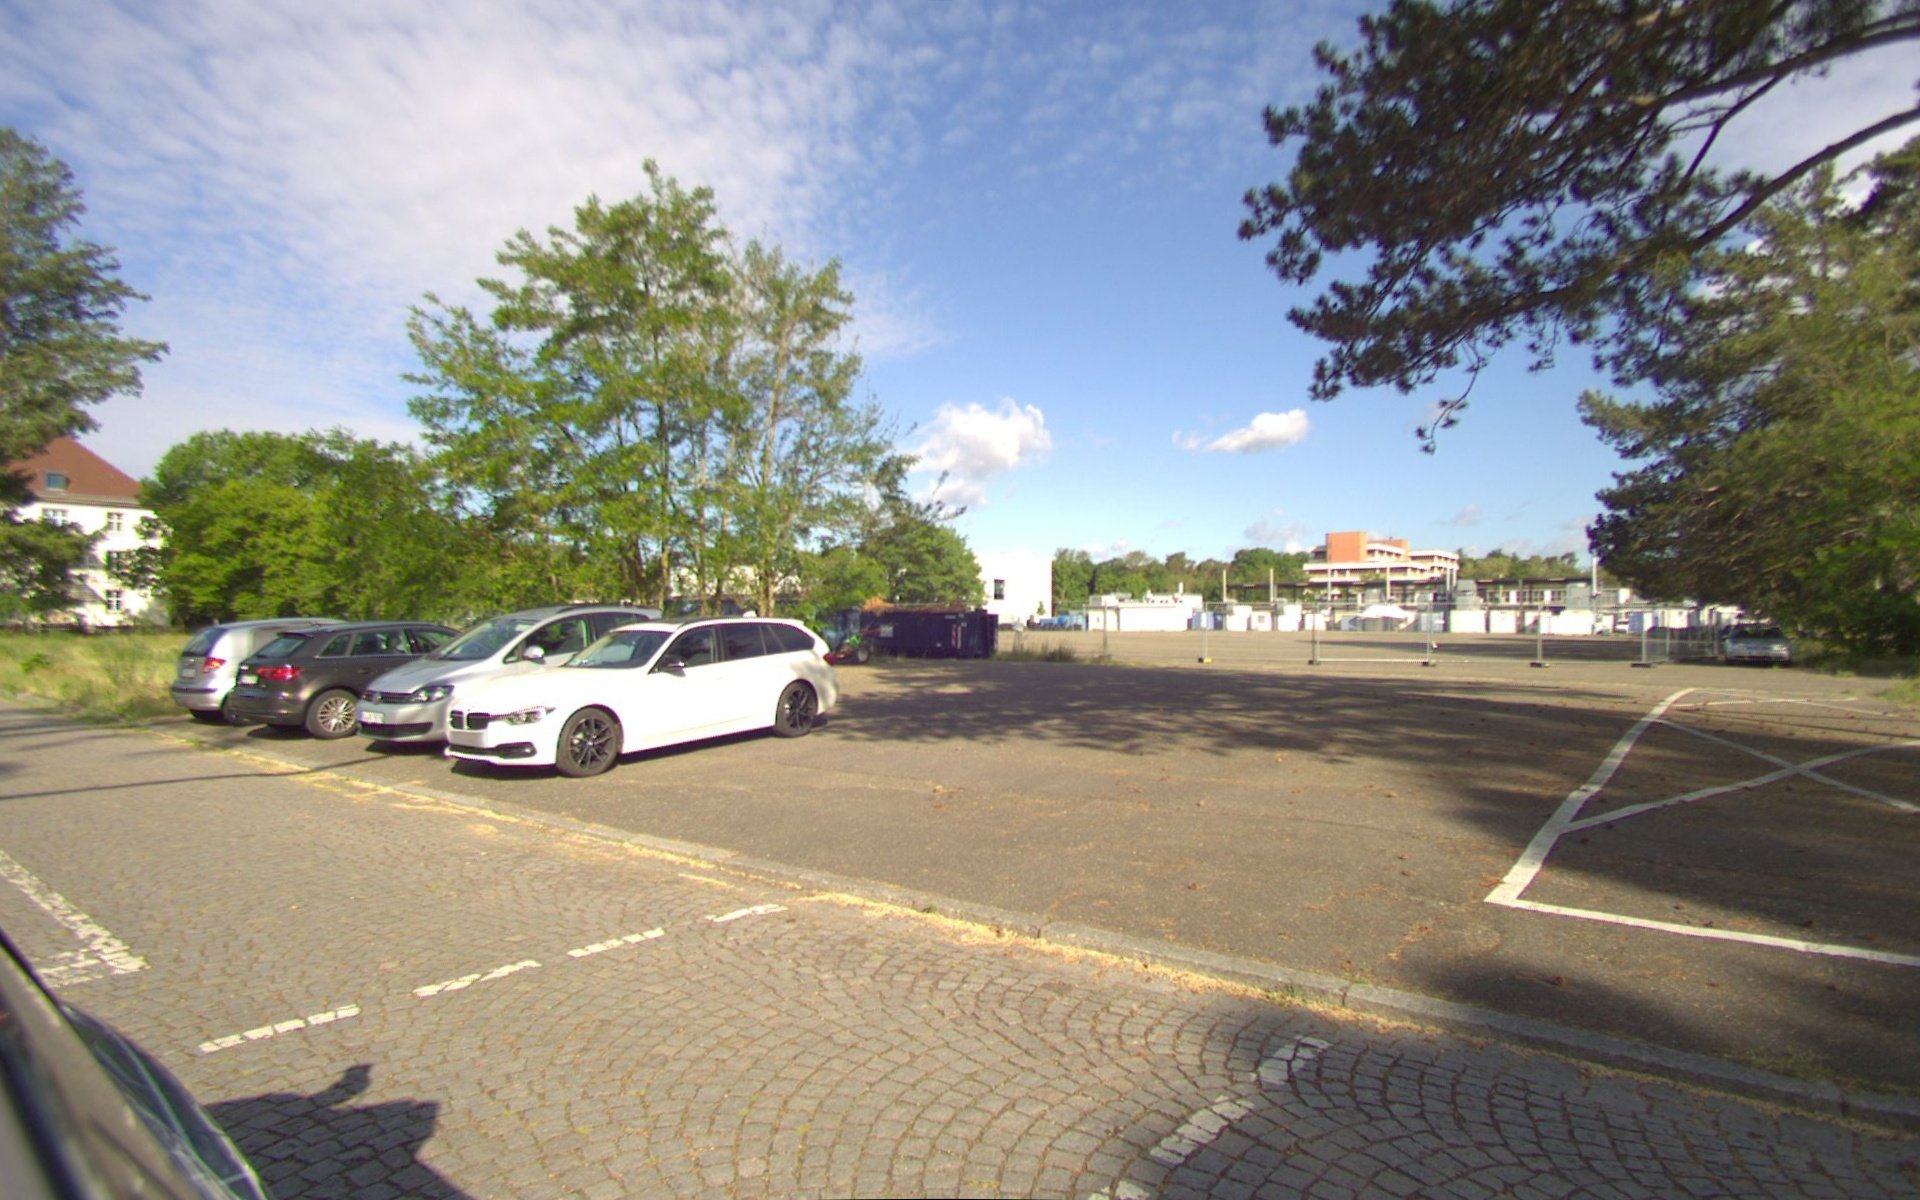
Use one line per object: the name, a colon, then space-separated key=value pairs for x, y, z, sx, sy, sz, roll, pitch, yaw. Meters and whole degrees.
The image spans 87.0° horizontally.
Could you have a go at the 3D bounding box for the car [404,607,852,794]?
car: x=-3.354 y=0.903 z=11.108 sx=1.749 sy=1.478 sz=4.501 roll=-2 pitch=1 yaw=35

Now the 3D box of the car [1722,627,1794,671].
car: x=26.830 y=1.593 z=33.991 sx=1.746 sy=1.380 sz=3.573 roll=-1 pitch=-2 yaw=40

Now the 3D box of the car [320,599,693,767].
car: x=-5.437 y=0.872 z=12.611 sx=1.717 sy=1.638 sz=3.911 roll=-1 pitch=1 yaw=34

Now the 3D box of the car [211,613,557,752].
car: x=-7.754 y=0.999 z=13.922 sx=1.685 sy=1.482 sz=3.761 roll=-1 pitch=1 yaw=38

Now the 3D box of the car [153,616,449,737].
car: x=-9.989 y=1.071 z=15.541 sx=1.633 sy=1.482 sz=3.434 roll=-1 pitch=1 yaw=36

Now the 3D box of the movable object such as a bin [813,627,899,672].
movable object such as a bin: x=-2.694 y=1.283 z=26.538 sx=0.996 sy=1.116 sz=2.257 roll=-1 pitch=-2 yaw=37
